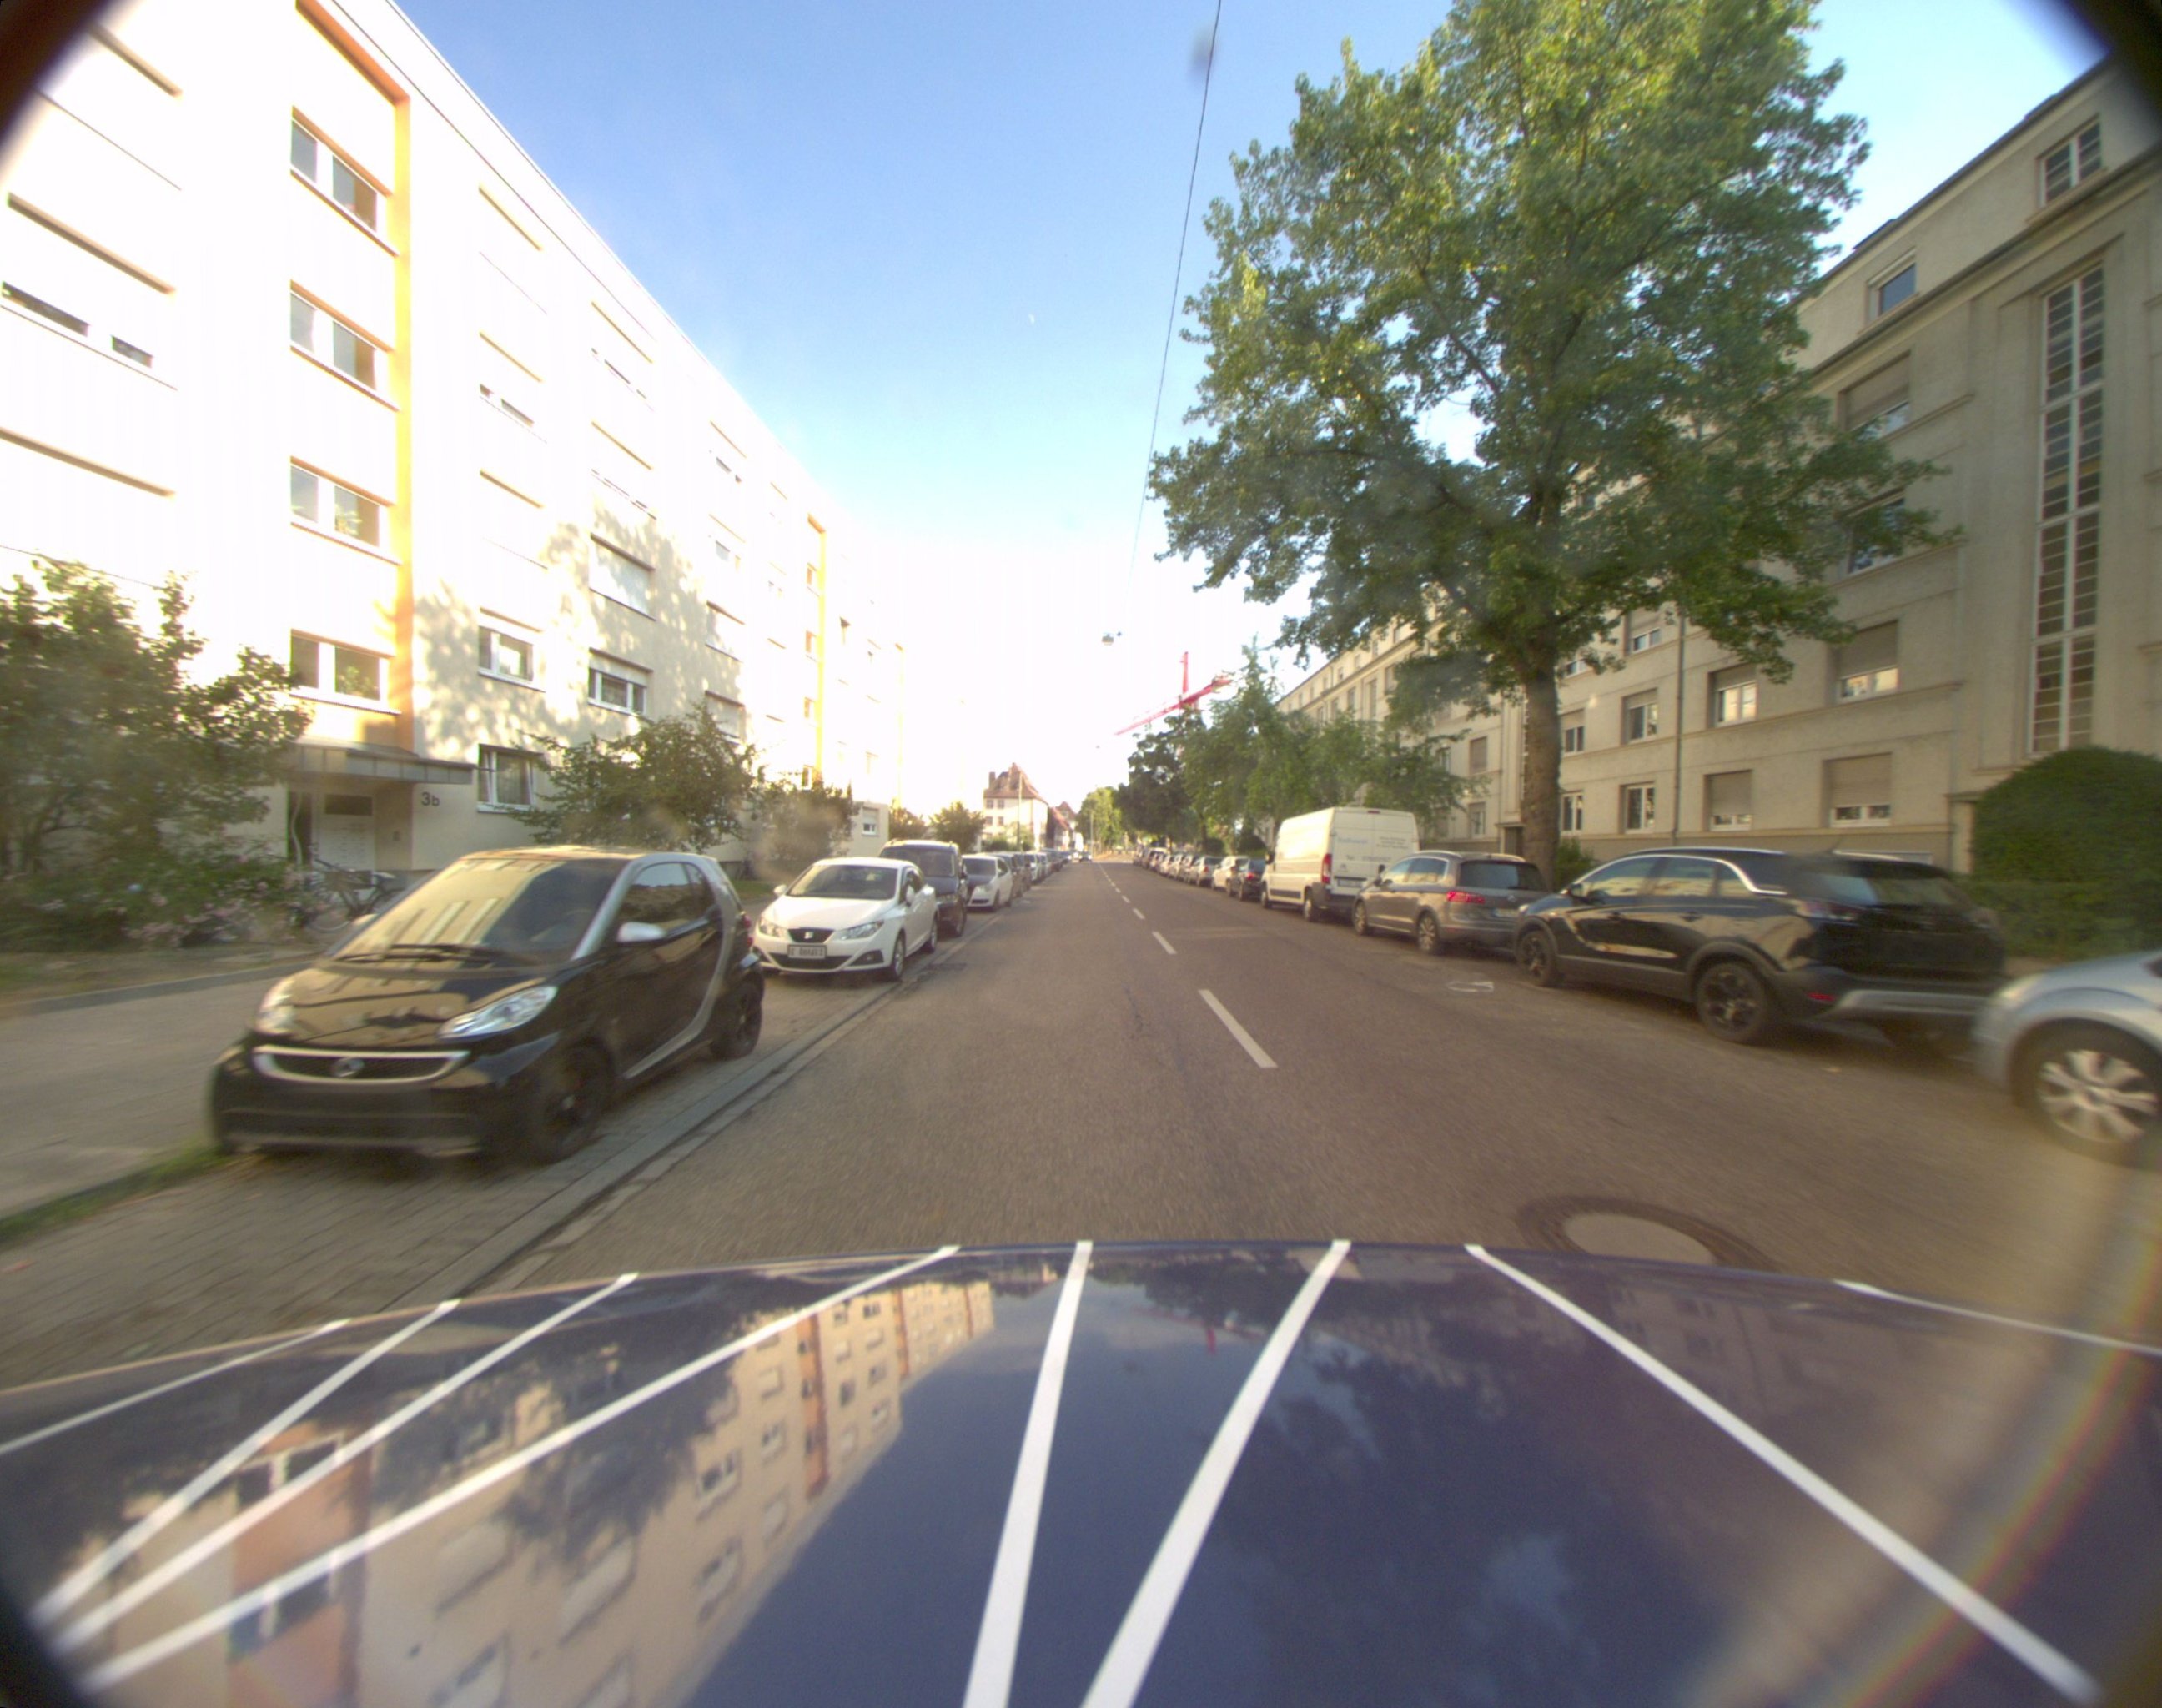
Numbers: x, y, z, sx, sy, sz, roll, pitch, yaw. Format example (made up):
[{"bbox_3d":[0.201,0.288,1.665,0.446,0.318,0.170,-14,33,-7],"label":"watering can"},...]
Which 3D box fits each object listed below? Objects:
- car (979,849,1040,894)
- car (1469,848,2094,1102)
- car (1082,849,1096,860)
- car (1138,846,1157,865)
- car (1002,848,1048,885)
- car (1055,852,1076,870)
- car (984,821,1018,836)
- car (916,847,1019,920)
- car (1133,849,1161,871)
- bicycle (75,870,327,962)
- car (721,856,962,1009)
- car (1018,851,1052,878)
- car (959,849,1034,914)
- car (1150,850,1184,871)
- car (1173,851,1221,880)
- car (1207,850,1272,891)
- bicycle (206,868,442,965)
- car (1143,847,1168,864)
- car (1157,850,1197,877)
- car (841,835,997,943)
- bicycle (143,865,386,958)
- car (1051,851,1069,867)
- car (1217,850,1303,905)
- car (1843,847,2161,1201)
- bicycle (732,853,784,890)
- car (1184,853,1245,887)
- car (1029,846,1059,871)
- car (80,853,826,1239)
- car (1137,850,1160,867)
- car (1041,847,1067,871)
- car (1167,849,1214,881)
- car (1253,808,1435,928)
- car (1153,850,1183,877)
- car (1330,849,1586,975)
[{"bbox_3d":[-2.868,0.643,31.300,1.967,1.596,4.278,2,1,1],"label":"car"},{"bbox_3d":[5.812,0.801,7.292,1.875,1.549,4.364,3,1,0],"label":"car"},{"bbox_3d":[1.061,0.069,100.974,1.775,1.492,3.674,0,0,3],"label":"car"},{"bbox_3d":[7.178,0.101,82.368,1.846,1.886,4.486,1,1,2],"label":"car"},{"bbox_3d":[-2.666,0.558,37.220,1.878,1.434,3.998,7,1,-1],"label":"car"},{"bbox_3d":[-1.434,0.638,70.425,1.803,1.498,4.620,0,1,-1],"label":"car"},{"bbox_3d":[-10.179,-3.267,97.100,3.996,1.784,2.000,-1,2,1],"label":"car"},{"bbox_3d":[-2.865,0.679,20.127,1.841,1.493,4.171,6,2,2],"label":"car"},{"bbox_3d":[5.731,0.476,66.709,1.878,1.749,4.687,0,1,-2],"label":"car"},{"bbox_3d":[-11.777,0.774,10.338,0.601,1.075,2.393,1,-1,1],"label":"bicycle"},{"bbox_3d":[-2.869,0.829,10.264,1.683,1.407,4.723,2,1,0],"label":"car"},{"bbox_3d":[-2.847,0.624,47.643,1.776,1.445,3.999,-3,1,0],"label":"car"},{"bbox_3d":[-2.752,0.853,25.748,1.842,1.762,3.977,7,1,1],"label":"car"},{"bbox_3d":[6.412,0.491,57.109,1.878,1.426,4.802,0,1,-1],"label":"car"},{"bbox_3d":[6.166,0.568,40.676,1.878,1.348,3.998,-1,1,-1],"label":"car"},{"bbox_3d":[6.378,0.658,30.856,1.712,1.564,3.260,1,0,-5],"label":"car"},{"bbox_3d":[-9.562,0.729,9.785,0.601,1.075,2.393,1,-1,1],"label":"bicycle"},{"bbox_3d":[7.148,0.114,73.081,1.878,1.543,3.998,-1,1,-1],"label":"car"},{"bbox_3d":[6.296,0.590,50.227,2.009,1.543,4.470,-1,1,-1],"label":"car"},{"bbox_3d":[-2.992,0.609,15.188,2.029,1.739,4.767,2,0,0],"label":"car"},{"bbox_3d":[-10.662,0.689,10.095,0.601,1.075,2.393,1,-1,1],"label":"bicycle"},{"bbox_3d":[-2.513,0.579,88.848,1.891,1.552,4.944,6,1,-2],"label":"car"},{"bbox_3d":[5.799,0.719,25.036,1.712,1.565,3.817,0,2,-3],"label":"car"},{"bbox_3d":[5.702,0.818,2.170,1.875,1.549,5.056,5,0,0],"label":"car"},{"bbox_3d":[-10.796,0.561,25.511,0.494,1.107,2.394,5,1,4],"label":"bicycle"},{"bbox_3d":[6.156,0.708,35.544,1.878,1.348,4.652,-2,1,-1],"label":"car"},{"bbox_3d":[-2.578,0.282,53.631,1.776,1.607,3.999,3,1,0],"label":"car"},{"bbox_3d":[-3.197,0.777,5.086,1.610,1.486,4.041,0,1,0],"label":"car"},{"bbox_3d":[6.892,0.430,77.509,1.878,1.543,3.998,0,1,-2],"label":"car"},{"bbox_3d":[-2.057,0.347,58.782,1.776,1.668,4.645,-3,1,1],"label":"car"},{"bbox_3d":[6.394,0.600,44.801,1.878,1.543,3.998,-7,2,-2],"label":"car"},{"bbox_3d":[6.088,0.222,18.647,2.364,2.432,6.163,0,1,1],"label":"car"},{"bbox_3d":[7.024,0.734,61.700,1.998,2.002,3.999,3,1,1],"label":"car"},{"bbox_3d":[5.785,0.771,12.411,1.962,1.549,4.345,2,1,0],"label":"car"}]
